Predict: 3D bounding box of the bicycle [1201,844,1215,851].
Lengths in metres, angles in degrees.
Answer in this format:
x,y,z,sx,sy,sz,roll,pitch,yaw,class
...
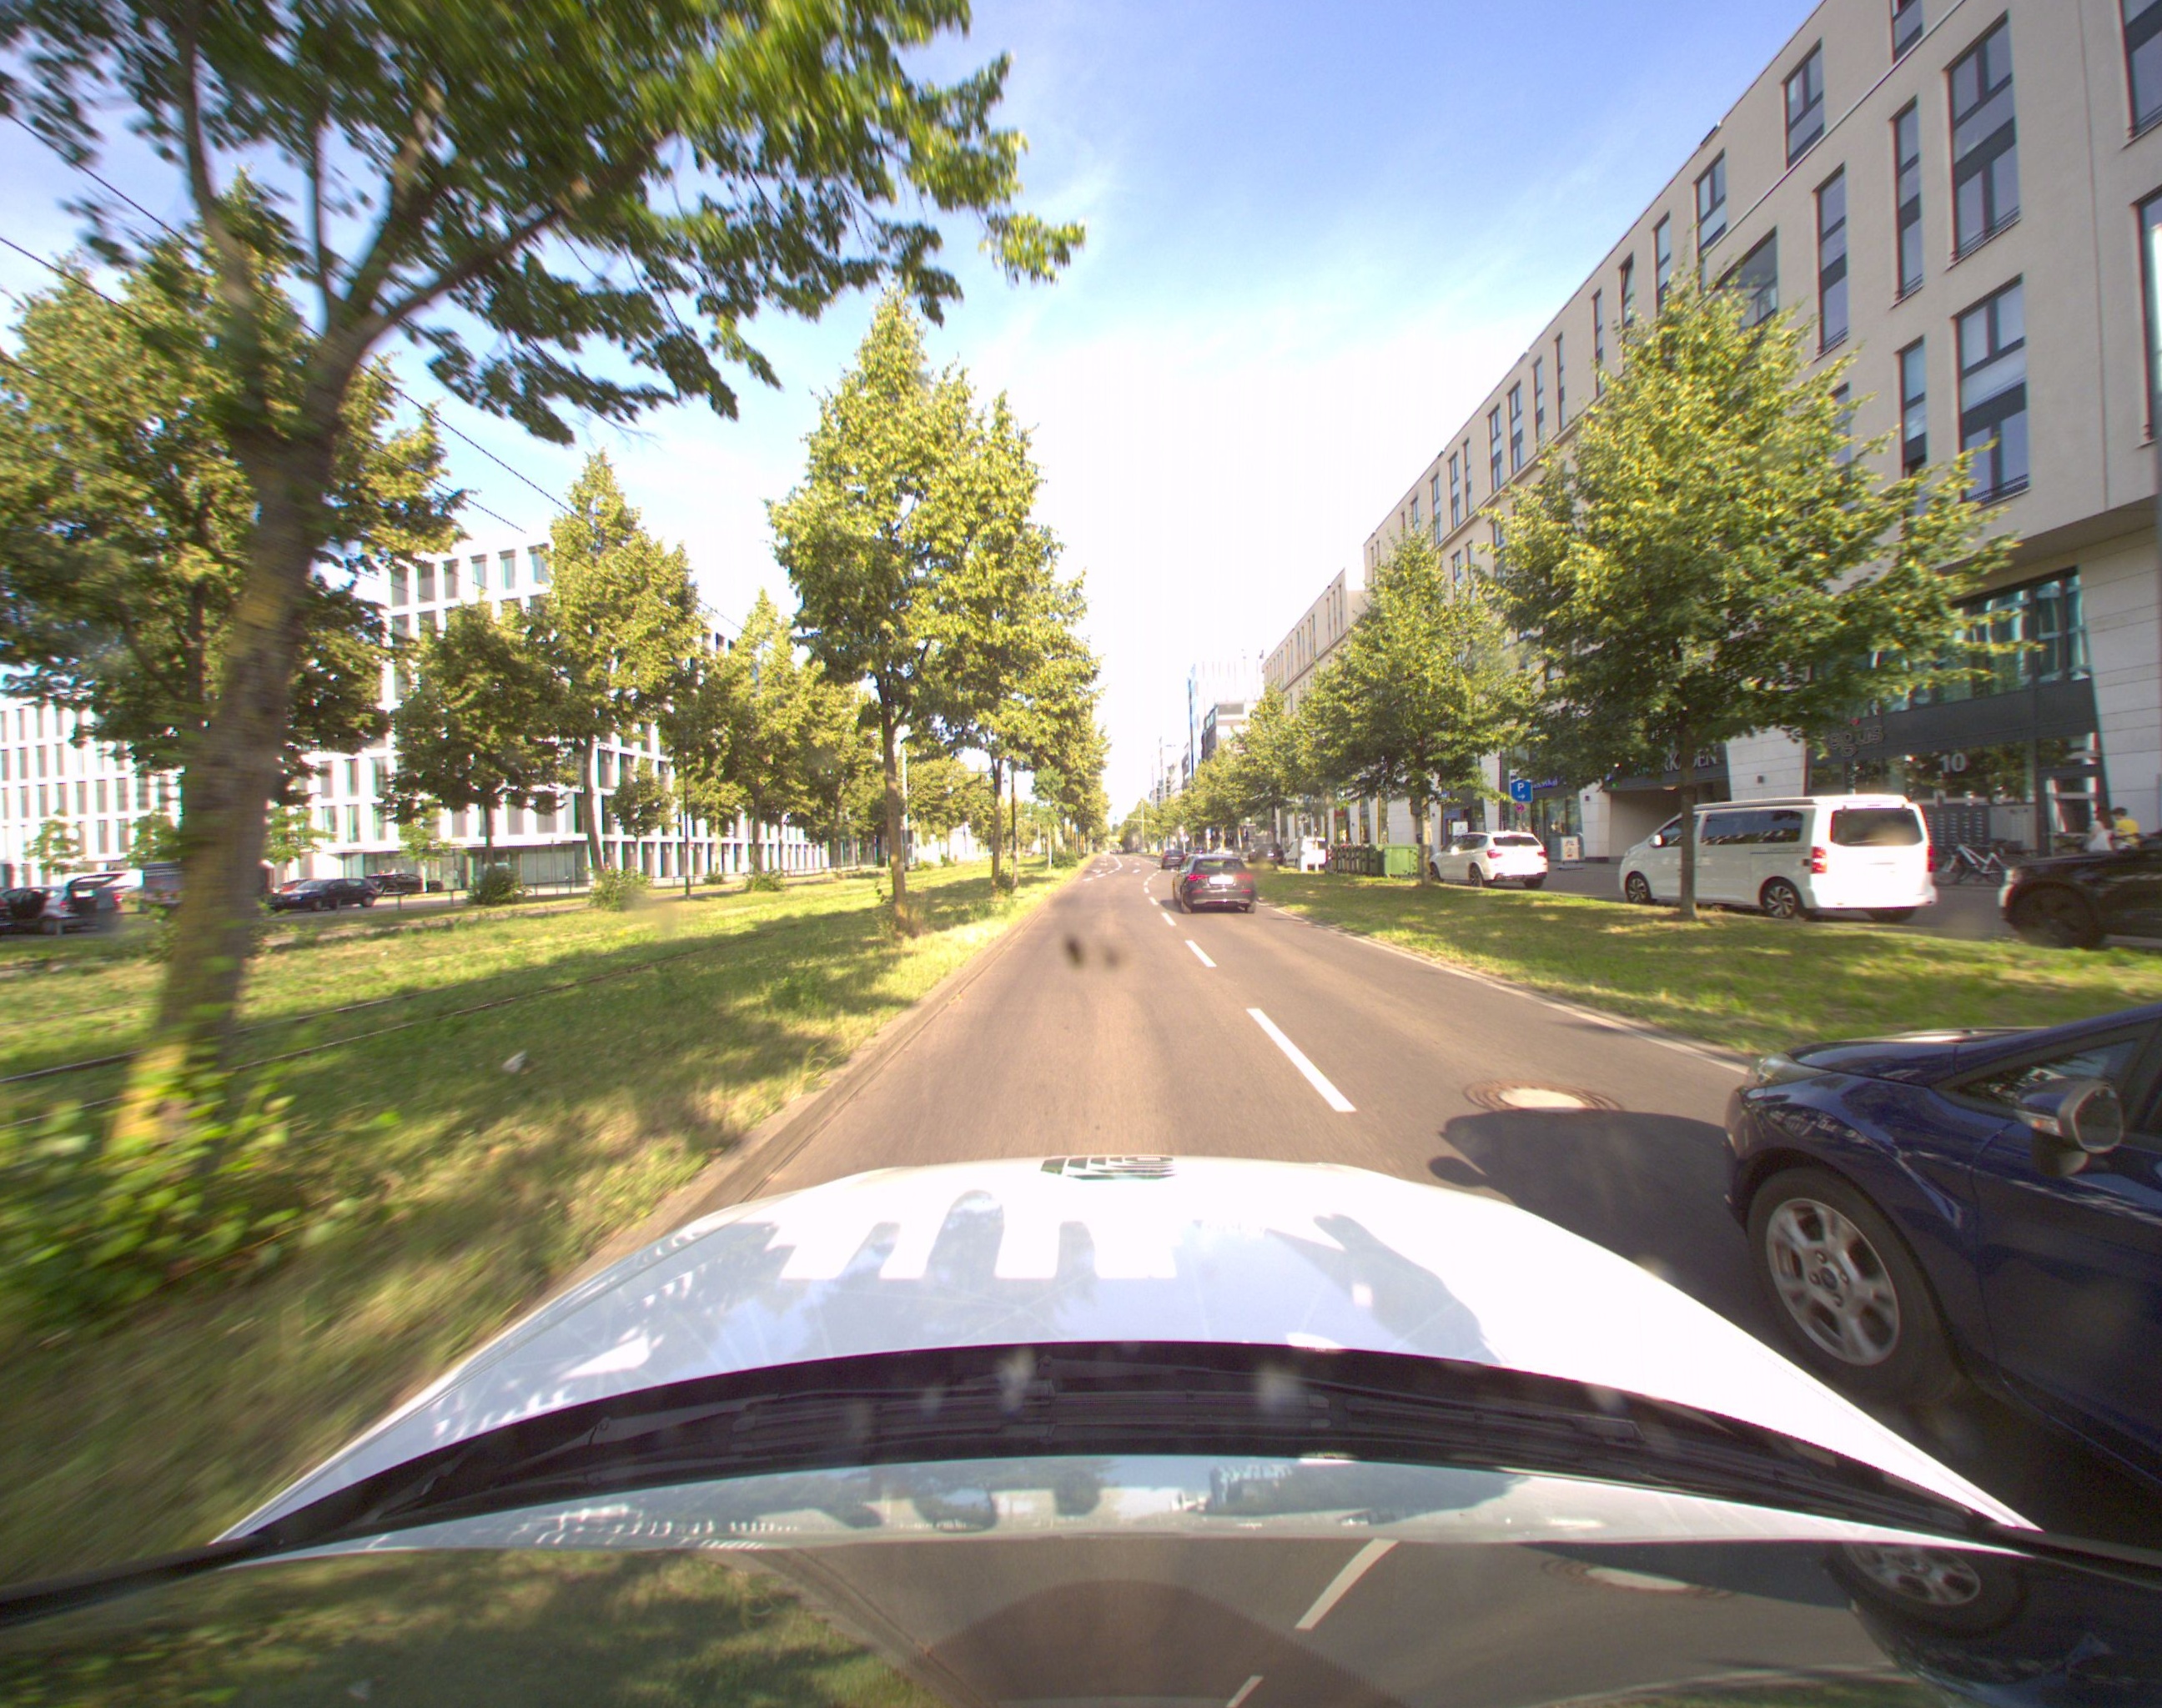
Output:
x,y,z,sx,sy,sz,roll,pitch,yaw,class
19.769,-1.017,126.682,2.129,1.013,0.571,0,0,-3,bicycle

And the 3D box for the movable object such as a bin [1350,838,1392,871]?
x,y,z,sx,sy,sz,roll,pitch,yaw,class
11.716,0.035,32.974,1.274,1.317,1.190,0,0,-2,movable object such as a bin

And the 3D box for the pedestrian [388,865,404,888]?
x,y,z,sx,sy,sz,roll,pitch,yaw,class
-49.914,1.638,59.348,0.585,1.629,0.638,4,1,25,pedestrian

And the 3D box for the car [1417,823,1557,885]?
x,y,z,sx,sy,sz,roll,pitch,yaw,class
12.047,-0.017,24.575,1.725,1.630,4.848,-2,0,-1,car

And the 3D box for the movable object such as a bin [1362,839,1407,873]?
x,y,z,sx,sy,sz,roll,pitch,yaw,class
11.777,0.072,31.630,1.274,1.302,1.190,0,0,-2,movable object such as a bin

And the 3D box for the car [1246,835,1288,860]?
x,y,z,sx,sy,sz,roll,pitch,yaw,class
13.131,-0.466,57.782,1.891,1.708,4.678,0,1,0,car

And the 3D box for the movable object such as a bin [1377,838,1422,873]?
x,y,z,sx,sy,sz,roll,pitch,yaw,class
11.790,0.062,30.097,1.385,1.236,1.344,0,0,28,movable object such as a bin

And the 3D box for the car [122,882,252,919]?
x,y,z,sx,sy,sz,roll,pitch,yaw,class
-44.955,2.296,41.093,1.836,1.596,4.013,0,0,12,car

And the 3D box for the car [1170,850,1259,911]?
x,y,z,sx,sy,sz,roll,pitch,yaw,class
3.302,0.610,20.813,1.767,1.424,3.963,0,0,2,car

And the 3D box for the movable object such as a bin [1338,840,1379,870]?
x,y,z,sx,sy,sz,roll,pitch,yaw,class
11.687,0.035,34.346,1.274,1.236,1.190,0,0,-2,movable object such as a bin

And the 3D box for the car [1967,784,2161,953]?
x,y,z,sx,sy,sz,roll,pitch,yaw,class
11.425,0.142,7.603,1.721,1.650,4.342,0,0,2,car

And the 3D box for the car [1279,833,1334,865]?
x,y,z,sx,sy,sz,roll,pitch,yaw,class
12.559,-0.284,45.646,1.822,1.711,4.294,0,0,-1,car

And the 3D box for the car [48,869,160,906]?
x,y,z,sx,sy,sz,roll,pitch,yaw,class
-73.150,2.442,61.100,1.791,2.532,5.053,0,0,18,car

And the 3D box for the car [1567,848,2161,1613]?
x,y,z,sx,sy,sz,roll,pitch,yaw,class
2.787,0.700,1.486,1.554,1.424,3.908,0,0,1,car

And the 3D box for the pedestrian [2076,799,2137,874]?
x,y,z,sx,sy,sz,roll,pitch,yaw,class
20.979,-0.349,16.670,0.512,1.522,0.597,0,0,1,pedestrian

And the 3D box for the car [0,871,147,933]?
x,y,z,sx,sy,sz,roll,pitch,yaw,class
-34.125,1.565,27.165,3.977,1.947,1.758,0,0,2,car

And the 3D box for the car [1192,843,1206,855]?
x,y,z,sx,sy,sz,roll,pitch,yaw,class
14.431,-0.607,99.590,1.598,1.370,4.165,0,0,6,car

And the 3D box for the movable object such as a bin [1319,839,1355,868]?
x,y,z,sx,sy,sz,roll,pitch,yaw,class
11.646,-0.024,37.047,1.274,1.291,1.177,0,0,-2,movable object such as a bin

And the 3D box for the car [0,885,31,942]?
x,y,z,sx,sy,sz,roll,pitch,yaw,class
-34.073,1.778,24.030,3.977,1.643,1.758,0,0,2,car

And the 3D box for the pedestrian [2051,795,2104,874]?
x,y,z,sx,sy,sz,roll,pitch,yaw,class
20.287,-0.395,16.580,0.515,1.574,0.537,0,0,-18,pedestrian

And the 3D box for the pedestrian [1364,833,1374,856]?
x,y,z,sx,sy,sz,roll,pitch,yaw,class
22.381,-0.746,63.351,0.535,1.763,0.647,0,0,2,pedestrian

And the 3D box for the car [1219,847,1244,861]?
x,y,z,sx,sy,sz,roll,pitch,yaw,class
14.499,-0.002,78.560,1.702,1.242,3.906,0,0,1,car

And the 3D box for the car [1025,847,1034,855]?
x,y,z,sx,sy,sz,roll,pitch,yaw,class
-11.009,-0.640,174.934,1.680,1.775,3.880,0,0,-2,car

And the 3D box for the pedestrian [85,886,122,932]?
x,y,z,sx,sy,sz,roll,pitch,yaw,class
-32.415,1.826,27.011,0.520,1.480,0.568,0,0,1,pedestrian

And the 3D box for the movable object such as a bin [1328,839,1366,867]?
x,y,z,sx,sy,sz,roll,pitch,yaw,class
11.676,-0.045,35.793,1.274,1.236,1.190,0,0,-2,movable object such as a bin

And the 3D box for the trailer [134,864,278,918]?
x,y,z,sx,sy,sz,roll,pitch,yaw,class
-34.938,1.449,32.559,4.339,2.054,1.762,0,0,8,trailer

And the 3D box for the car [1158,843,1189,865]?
x,y,z,sx,sy,sz,roll,pitch,yaw,class
6.541,-0.028,57.862,1.852,1.524,3.787,0,0,2,car

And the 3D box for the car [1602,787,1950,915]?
x,y,z,sx,sy,sz,roll,pitch,yaw,class
11.744,-0.047,14.394,1.832,1.876,5.029,0,0,-1,car

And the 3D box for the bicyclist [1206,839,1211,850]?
x,y,z,sx,sy,sz,roll,pitch,yaw,class
19.809,-1.437,126.682,0.573,1.707,0.540,0,0,-2,bicyclist

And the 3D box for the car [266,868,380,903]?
x,y,z,sx,sy,sz,roll,pitch,yaw,class
-34.155,1.388,36.845,1.674,1.393,3.759,0,0,-2,car

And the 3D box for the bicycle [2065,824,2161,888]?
x,y,z,sx,sy,sz,roll,pitch,yaw,class
18.762,0.025,14.507,0.343,1.081,1.733,-5,0,2,bicycle

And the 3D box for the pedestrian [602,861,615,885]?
x,y,z,sx,sy,sz,roll,pitch,yaw,class
-34.261,1.391,59.037,0.565,1.728,0.692,0,0,1,pedestrian
